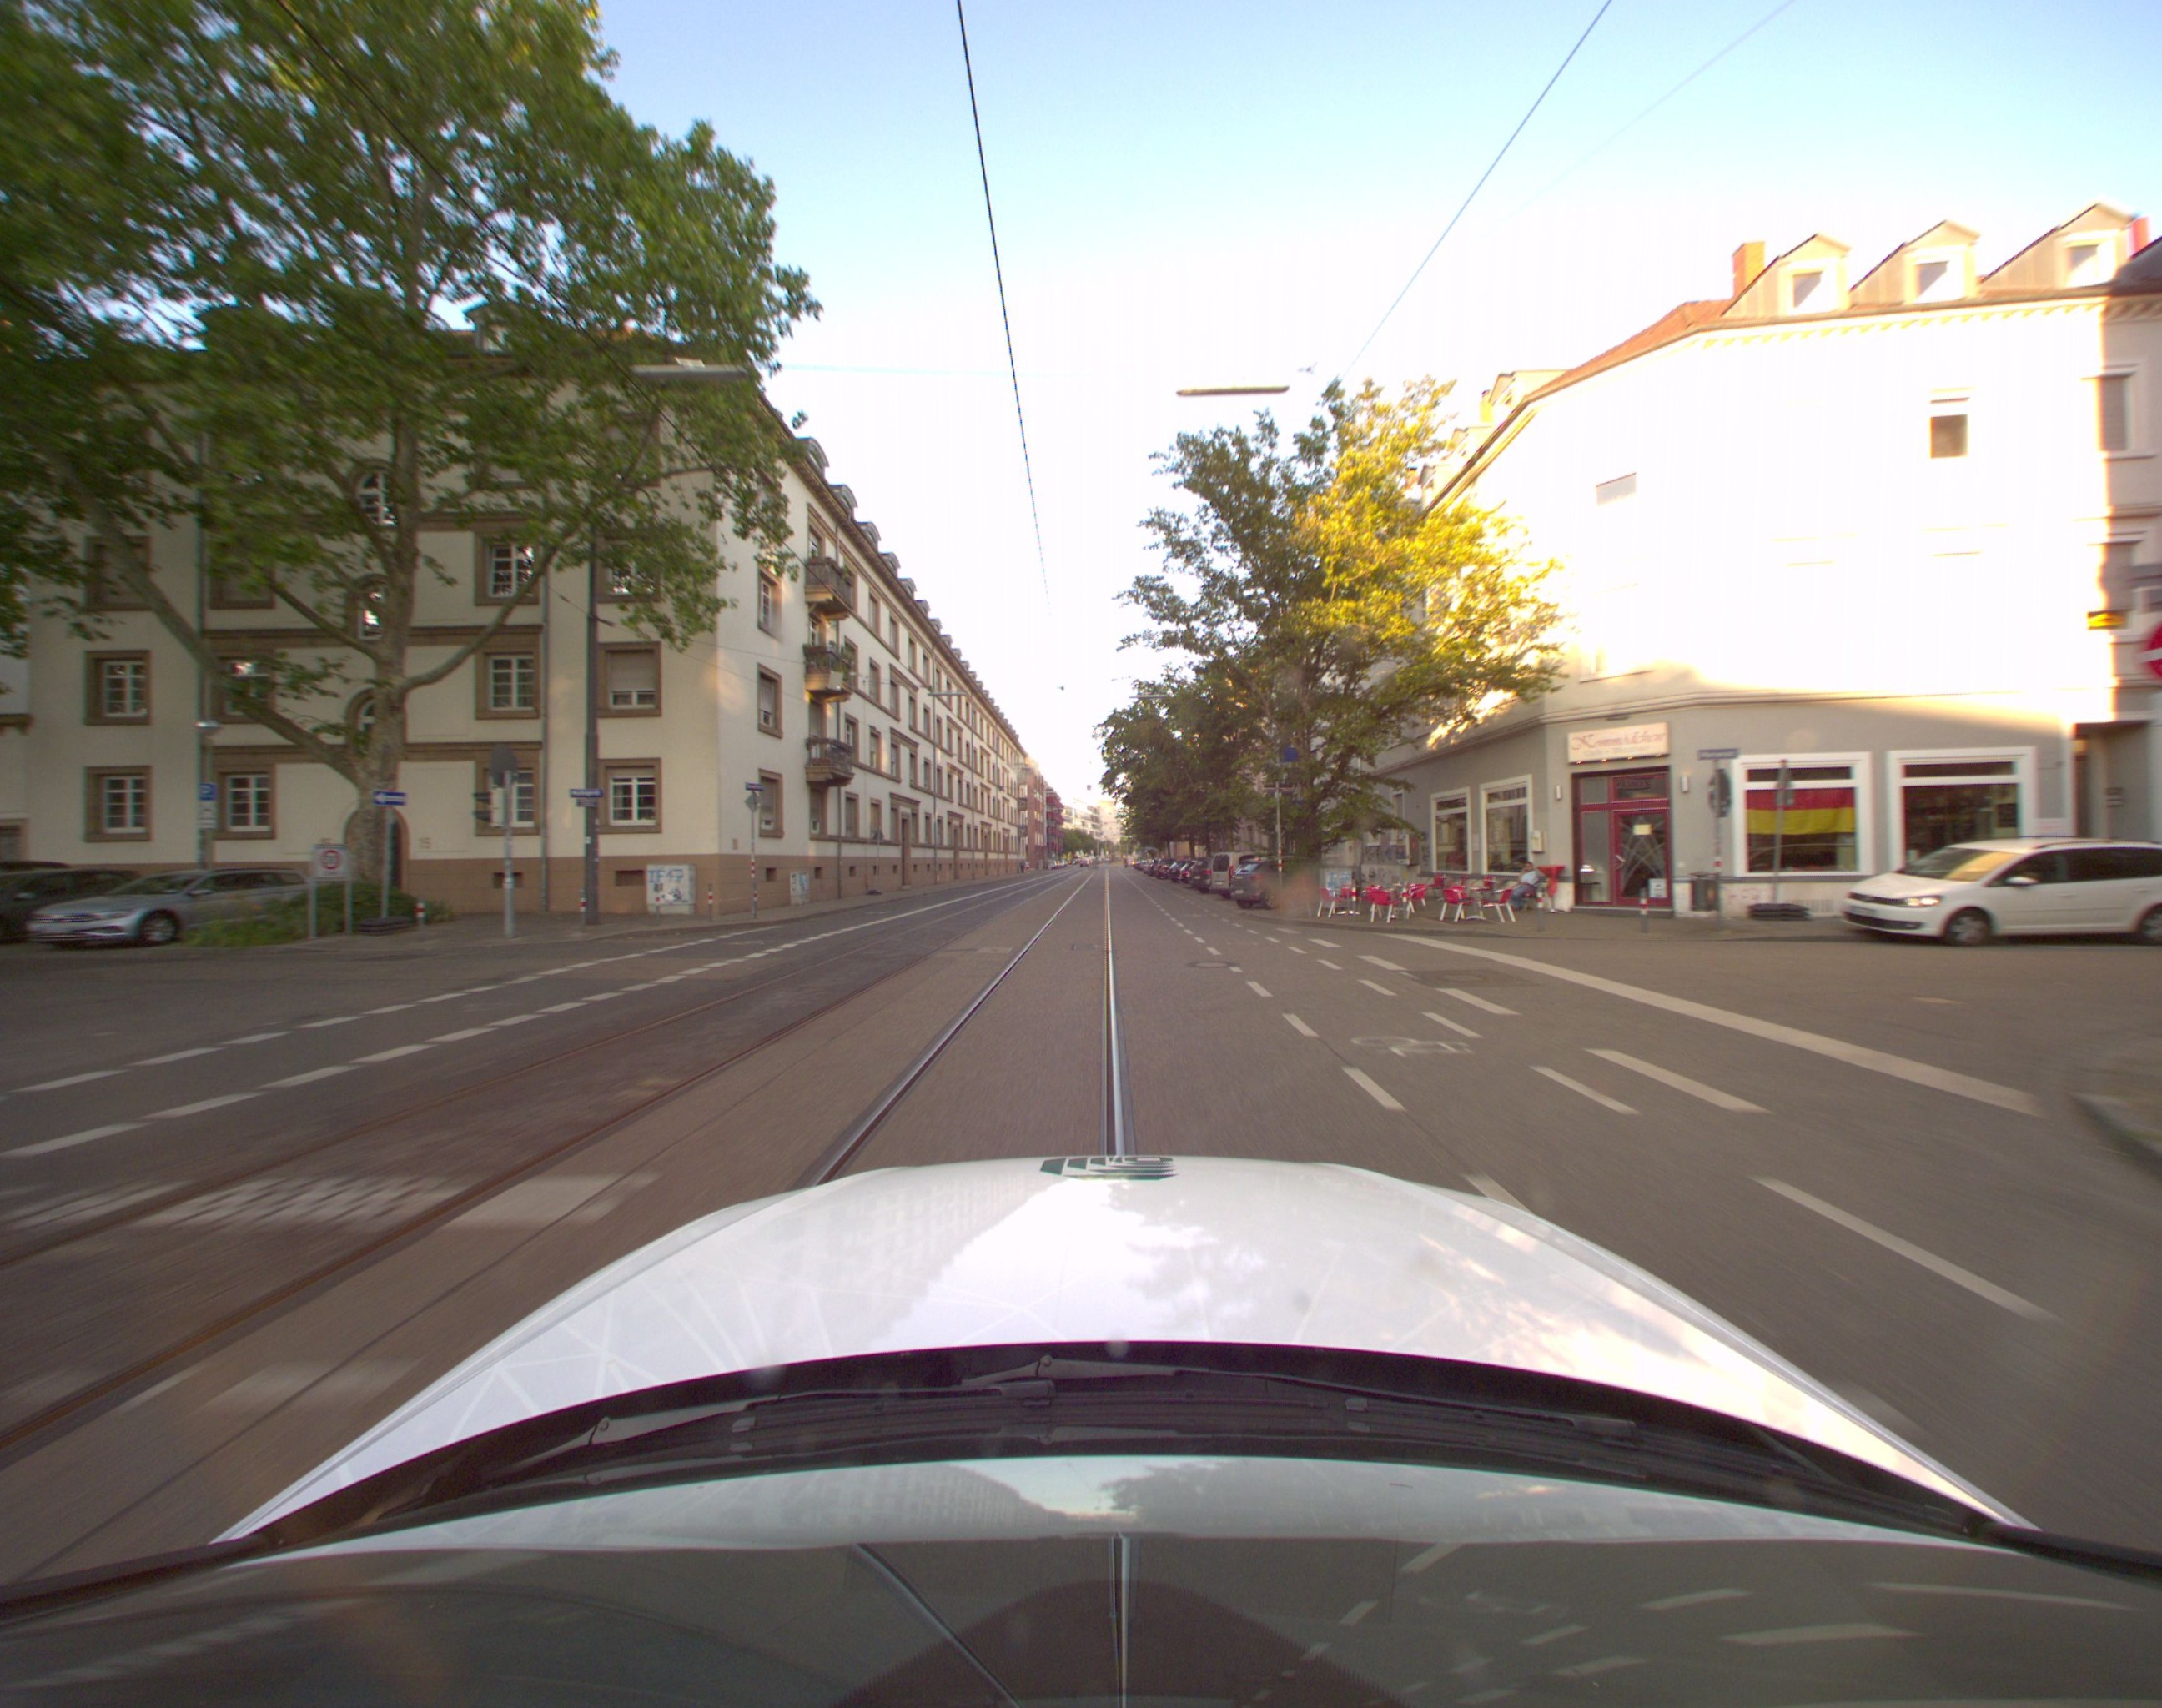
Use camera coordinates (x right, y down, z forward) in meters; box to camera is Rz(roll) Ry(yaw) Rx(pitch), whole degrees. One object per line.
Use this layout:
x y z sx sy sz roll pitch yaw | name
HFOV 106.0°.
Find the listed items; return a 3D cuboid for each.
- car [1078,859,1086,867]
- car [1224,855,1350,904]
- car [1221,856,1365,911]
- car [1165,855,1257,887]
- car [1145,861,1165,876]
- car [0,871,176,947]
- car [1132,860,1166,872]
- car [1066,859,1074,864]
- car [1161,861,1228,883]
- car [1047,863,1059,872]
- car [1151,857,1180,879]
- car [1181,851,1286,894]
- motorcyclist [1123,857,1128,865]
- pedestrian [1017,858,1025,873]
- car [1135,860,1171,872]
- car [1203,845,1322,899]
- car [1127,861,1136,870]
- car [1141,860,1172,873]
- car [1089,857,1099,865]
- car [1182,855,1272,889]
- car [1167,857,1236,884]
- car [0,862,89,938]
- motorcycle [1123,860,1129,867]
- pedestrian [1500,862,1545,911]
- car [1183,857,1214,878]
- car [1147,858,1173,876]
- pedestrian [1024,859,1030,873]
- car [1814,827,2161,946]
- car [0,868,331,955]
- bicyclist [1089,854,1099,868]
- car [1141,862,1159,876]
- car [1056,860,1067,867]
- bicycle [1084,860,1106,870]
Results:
0.203 1.910 165.208 1.554 1.558 3.754 -2 0 0 | car
7.144 0.837 28.302 4.000 1.566 1.708 -1 -1 -20 | car
6.547 0.874 25.214 3.998 1.540 1.768 -1 -1 -18 | car
6.755 0.861 42.417 4.386 1.464 1.710 -2 0 -16 | car
7.315 1.443 80.677 1.772 1.381 4.696 -3 -1 4 | car
-22.324 1.151 17.174 1.746 1.360 4.096 0 2 2 | car
9.868 1.749 117.504 4.625 1.457 1.697 -3 0 -23 | car
-3.265 2.215 242.868 1.672 1.700 4.251 -1 -1 11 | car
7.594 1.177 54.426 4.269 1.388 1.607 -1 -1 -24 | car
-4.820 2.263 140.870 1.710 1.556 4.206 0 -1 2 | car
6.581 1.080 63.960 1.873 1.618 4.263 -3 -1 1 | car
6.770 0.782 36.167 4.192 1.696 1.835 -2 0 -20 | car
8.124 1.241 147.159 0.824 1.473 1.208 -1 -1 5 | motorcyclist
-7.054 1.386 95.939 0.793 1.701 0.981 -1 -1 -1 | pedestrian
9.849 1.630 111.540 4.461 1.516 2.048 -2 -1 -22 | car
6.866 0.663 30.864 4.000 1.816 1.812 -2 0 -20 | car
9.931 2.267 161.044 1.709 1.555 4.207 0 0 3 | car
9.563 1.583 103.700 3.571 1.429 1.656 -2 -1 -24 | car
3.977 2.085 249.087 2.449 2.482 5.817 -1 -1 5 | car
7.146 0.857 39.921 3.995 1.464 1.710 -2 0 -16 | car
7.570 1.008 51.299 3.969 1.553 1.710 -2 1 -16 | car
-24.645 1.065 17.393 1.746 1.613 4.096 0 2 2 | car
8.125 1.792 147.191 0.824 1.240 2.495 -1 -1 6 | motorcycle
10.579 0.765 19.536 0.652 1.155 0.686 0 -1 -22 | pedestrian
9.183 1.044 64.011 1.873 1.584 4.021 -1 -1 1 | car
7.076 1.141 73.100 1.986 1.489 5.038 -2 -1 2 | car
-6.360 1.418 95.754 0.589 1.609 0.811 -1 -1 -1 | pedestrian
15.456 0.515 13.731 4.299 1.841 1.910 0 -1 7 | car
-18.770 1.095 17.090 1.746 1.360 4.478 0 2 3 | car
1.944 1.010 119.737 1.213 2.013 0.945 -2 0 -7 | bicyclist
7.322 1.605 86.238 1.613 1.381 3.777 -3 -1 2 | car
-3.910 1.929 160.833 1.684 1.414 4.682 1 -1 4 | car
2.046 1.647 119.744 3.167 1.354 0.955 -1 -1 -7 | bicycle
